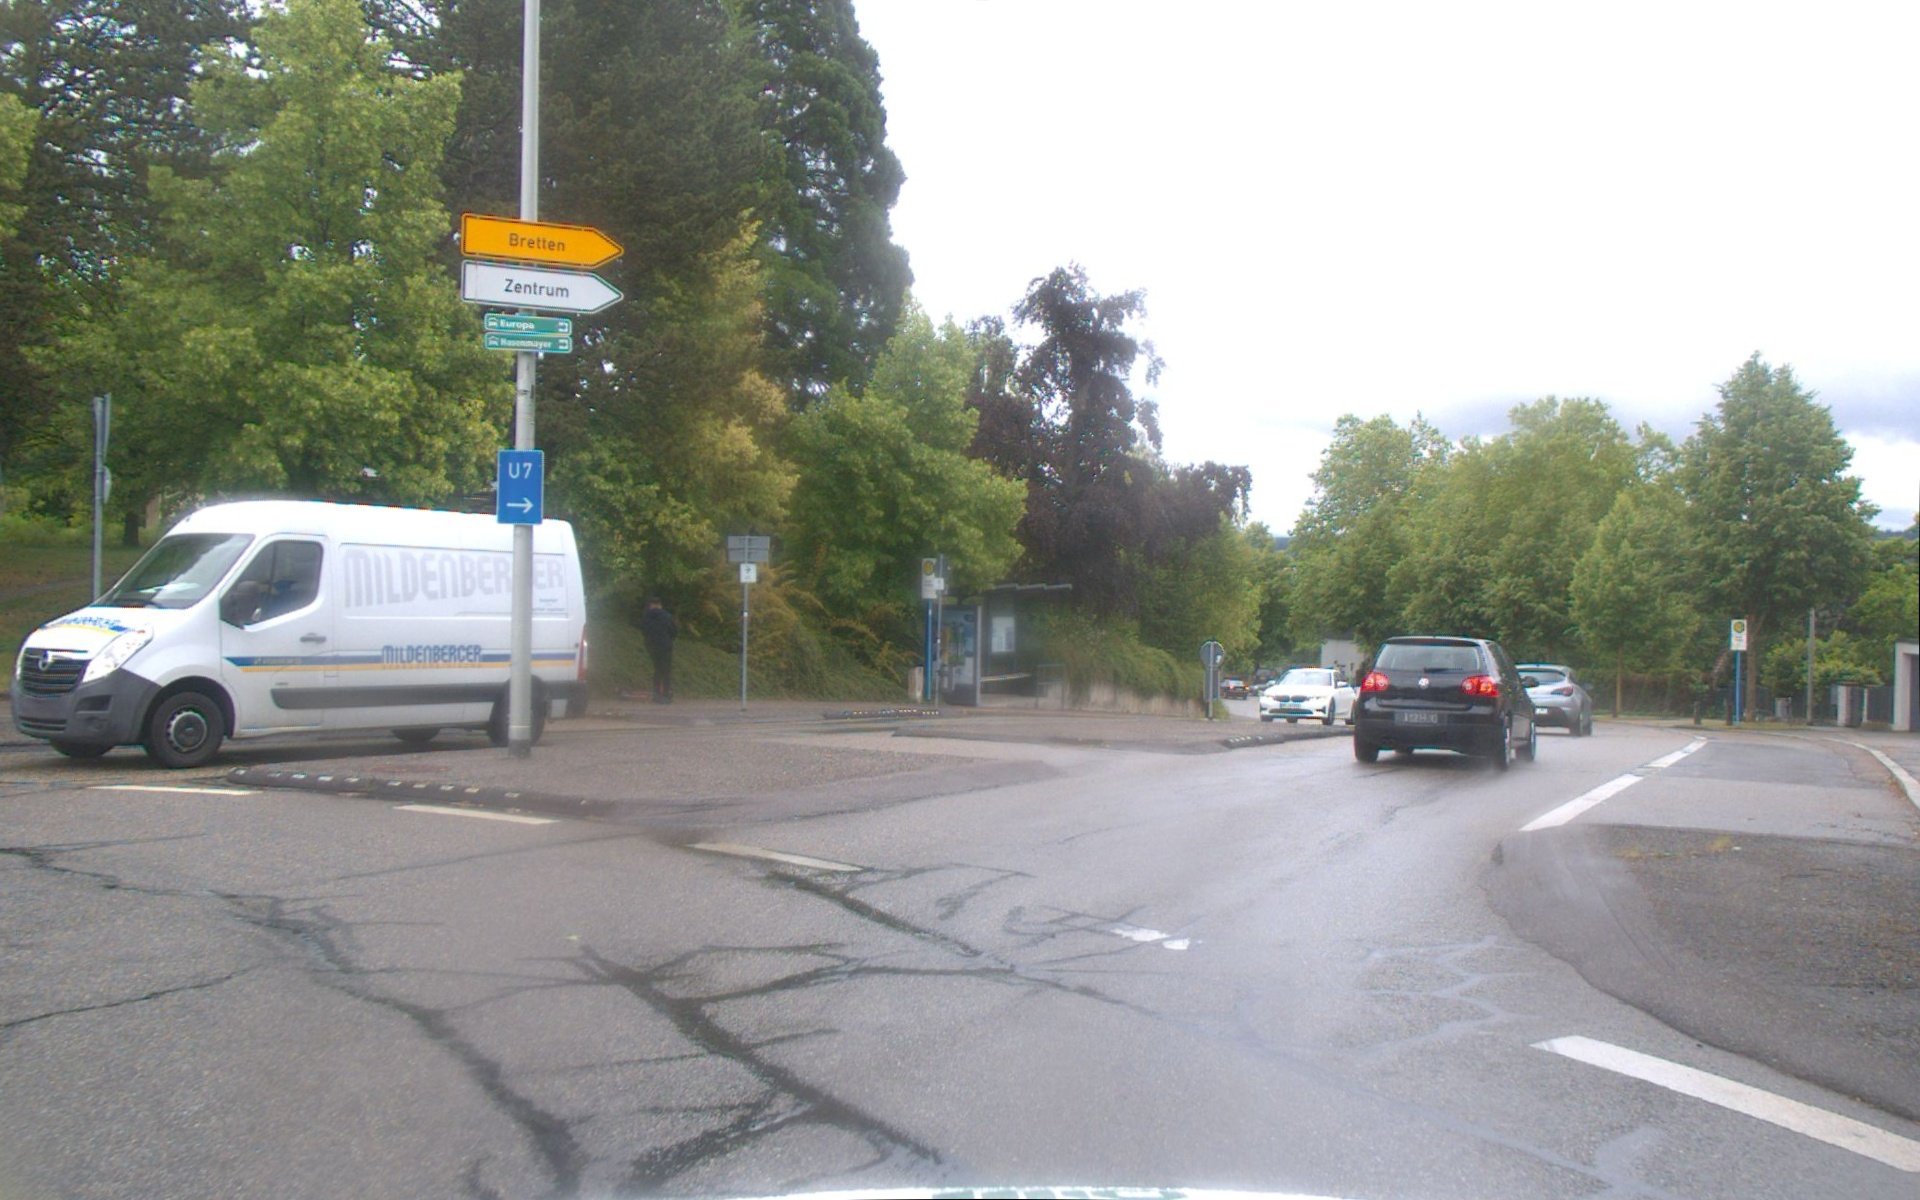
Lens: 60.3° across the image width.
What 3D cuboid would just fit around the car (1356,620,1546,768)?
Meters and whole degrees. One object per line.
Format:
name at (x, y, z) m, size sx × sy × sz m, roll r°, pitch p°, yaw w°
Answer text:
car at (6.035, 1.067, 20.033) m, size 1.729 × 1.565 × 3.998 m, roll 1°, pitch -1°, yaw 23°

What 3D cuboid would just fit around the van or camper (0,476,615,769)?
van or camper at (-6.340, 0.256, 16.604) m, size 2.156 × 2.420 × 5.648 m, roll 1°, pitch -1°, yaw 35°

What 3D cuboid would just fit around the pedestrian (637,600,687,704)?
pedestrian at (-5.150, 0.895, 28.620) m, size 0.723 × 1.756 × 0.815 m, roll 2°, pitch -1°, yaw -5°

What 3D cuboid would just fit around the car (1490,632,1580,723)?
car at (12.361, 1.704, 35.653) m, size 1.728 × 1.833 × 4.247 m, roll 0°, pitch -4°, yaw 19°

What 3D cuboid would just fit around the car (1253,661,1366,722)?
car at (9.088, 2.393, 42.750) m, size 1.871 × 1.417 × 4.511 m, roll 2°, pitch -3°, yaw 25°
